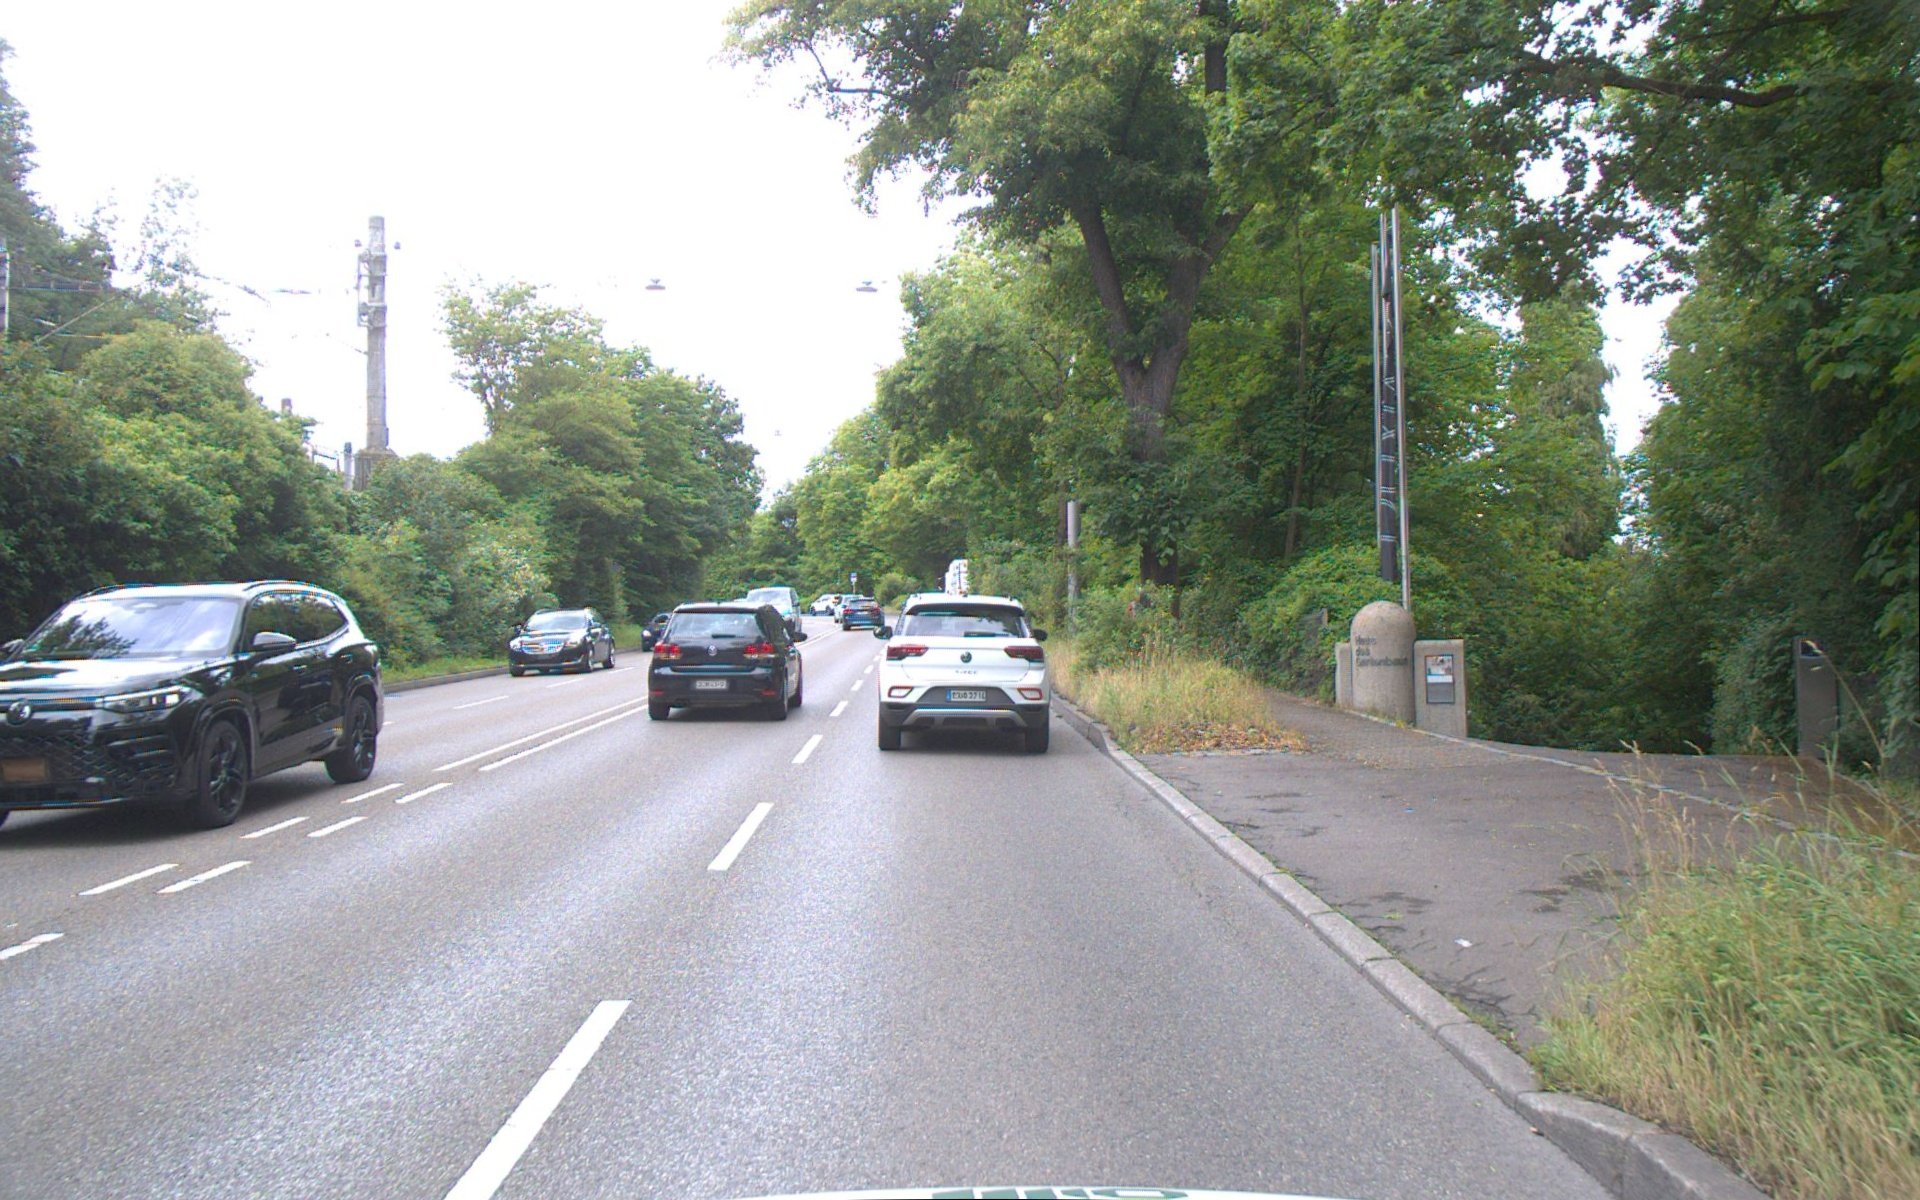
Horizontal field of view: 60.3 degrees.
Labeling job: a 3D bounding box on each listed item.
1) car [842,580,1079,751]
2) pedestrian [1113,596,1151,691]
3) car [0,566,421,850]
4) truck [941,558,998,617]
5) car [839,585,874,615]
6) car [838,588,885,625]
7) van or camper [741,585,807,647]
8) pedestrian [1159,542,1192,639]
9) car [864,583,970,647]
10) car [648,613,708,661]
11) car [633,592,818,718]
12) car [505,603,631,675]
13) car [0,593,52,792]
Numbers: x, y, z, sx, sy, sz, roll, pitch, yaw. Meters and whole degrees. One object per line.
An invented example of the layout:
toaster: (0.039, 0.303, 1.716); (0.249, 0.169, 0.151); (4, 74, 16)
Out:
car: (-0.127, 0.639, 17.871); (1.964, 1.624, 3.991); (1, 0, -9)
pedestrian: (3.155, 0.787, 30.376); (0.597, 1.727, 0.548); (1, -1, -5)
car: (-5.721, 0.657, 12.414); (1.773, 1.691, 4.829); (-2, 0, -1)
truck: (0.466, -0.666, 94.403); (2.434, 3.237, 7.218); (1, 0, -6)
car: (-5.798, 0.005, 93.005); (1.785, 1.651, 3.999); (1, 0, -1)
car: (-4.418, 0.302, 74.572); (1.953, 1.620, 3.999); (1, 0, -1)
van or camper: (-6.855, 0.580, 61.434); (1.954, 2.048, 5.365); (-4, 0, -2)
pedestrian: (4.012, -0.168, 30.821); (0.509, 1.784, 0.524); (1, -1, -5)
car: (-1.344, 0.427, 50.011); (1.826, 1.732, 3.972); (-3, 1, -23)
car: (-9.942, 1.279, 58.533); (1.445, 1.624, 3.999); (1, 0, -1)
car: (-2.986, 0.668, 21.867); (1.910, 1.492, 3.999); (1, 0, -1)
car: (-9.036, 0.857, 38.518); (1.875, 1.493, 4.528); (-2, 0, -1)
car: (-8.812, 0.792, 12.347); (1.755, 1.640, 4.189); (-2, 0, -1)
